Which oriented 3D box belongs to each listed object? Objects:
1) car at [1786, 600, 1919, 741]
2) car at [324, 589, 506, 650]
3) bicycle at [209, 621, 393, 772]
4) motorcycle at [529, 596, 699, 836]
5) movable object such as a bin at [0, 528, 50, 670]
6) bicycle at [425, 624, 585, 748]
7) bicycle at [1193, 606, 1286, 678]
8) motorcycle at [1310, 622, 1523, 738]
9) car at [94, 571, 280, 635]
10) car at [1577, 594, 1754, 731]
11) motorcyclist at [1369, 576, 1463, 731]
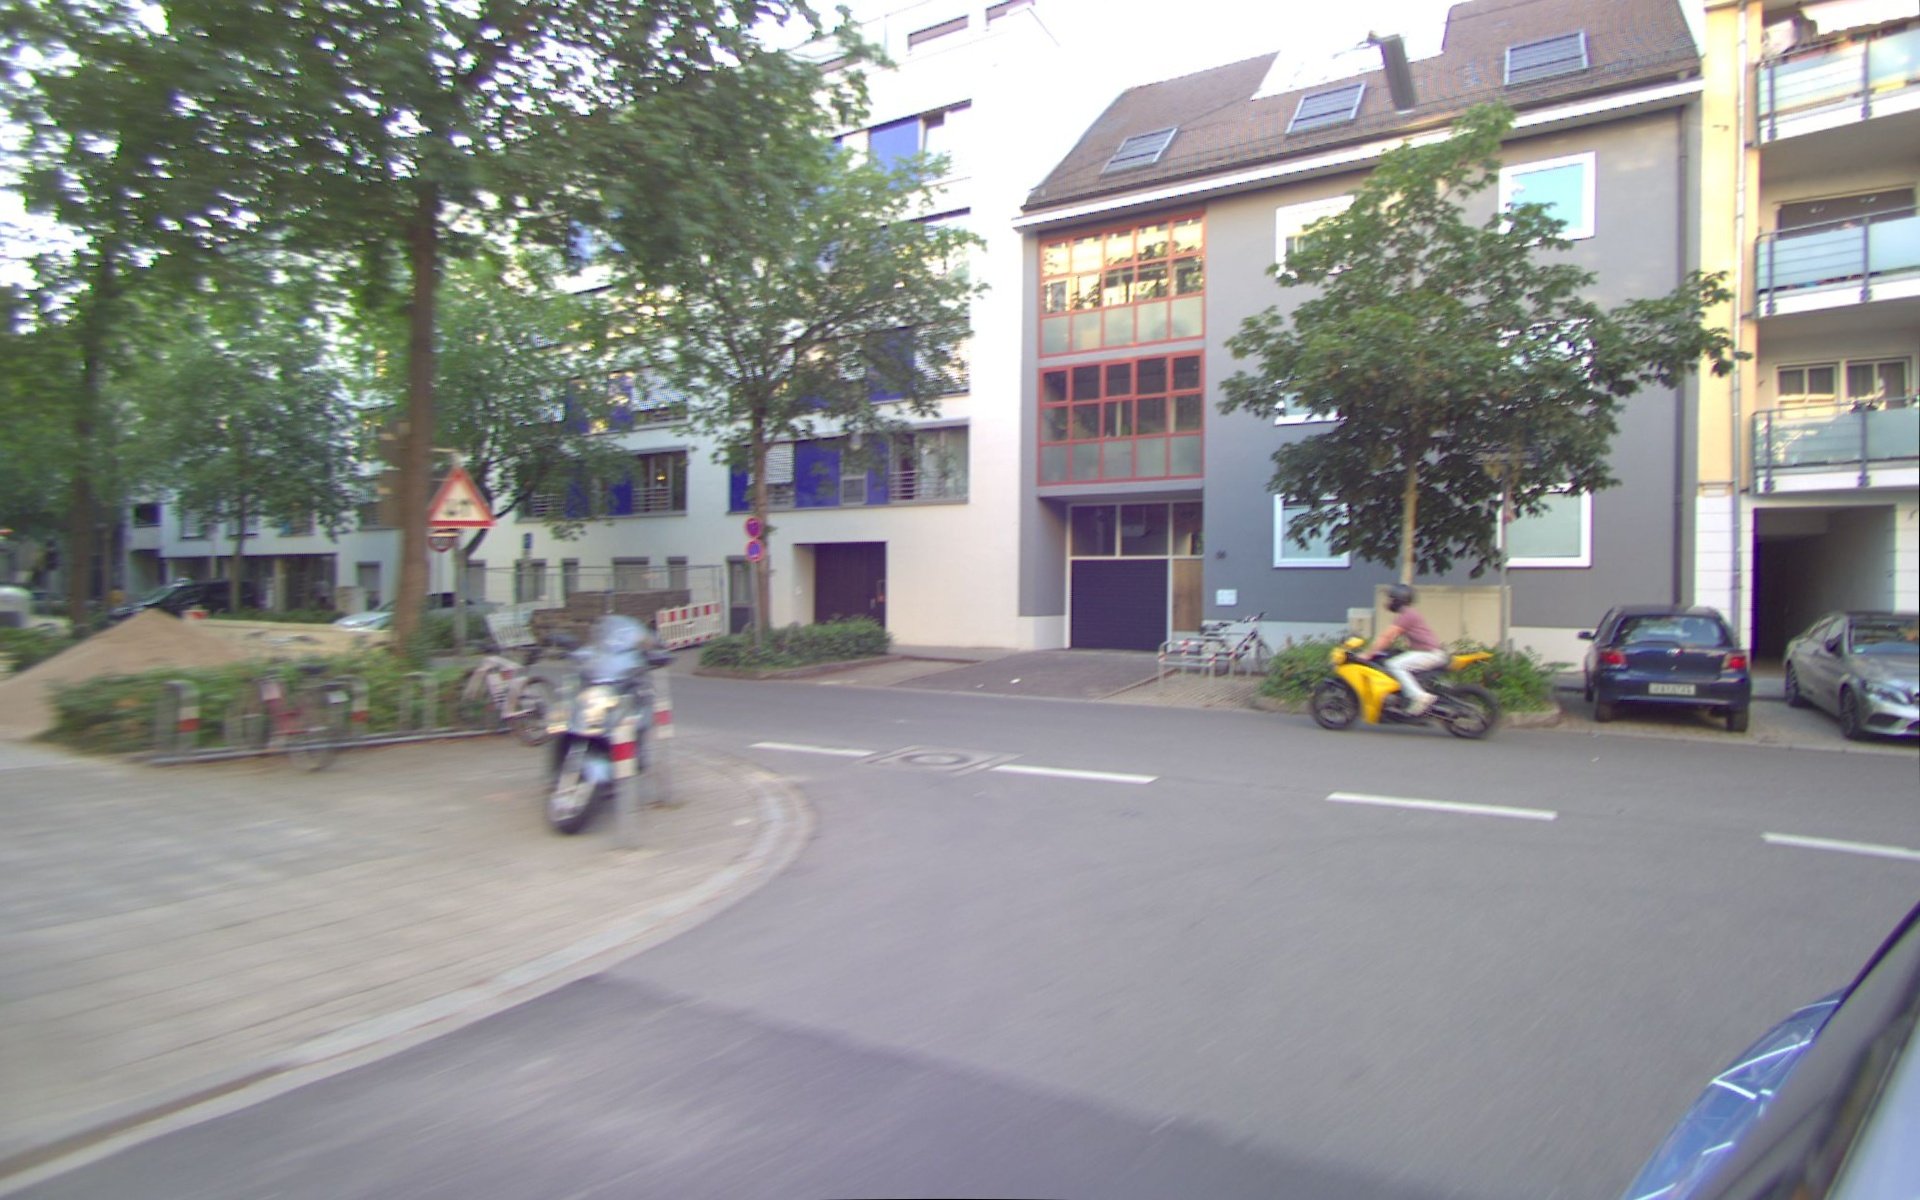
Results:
[{"bbox_3d":[11.957,0.788,12.568,1.855,1.527,4.250,1,0,29],"label":"car"},{"bbox_3d":[-15.536,0.513,29.077,1.616,1.611,4.400,0,0,32],"label":"car"},{"bbox_3d":[-5.753,0.787,8.807,1.785,1.132,0.596,2,0,31],"label":"bicycle"},{"bbox_3d":[-2.426,0.708,7.402,0.785,1.459,2.383,1,0,-10],"label":"motorcycle"},{"bbox_3d":[-17.628,-0.042,16.396,2.560,2.362,3.641,1,0,28],"label":"movable object such as a bin"},{"bbox_3d":[-4.771,0.854,10.588,1.785,1.132,0.596,2,0,31],"label":"bicycle"},{"bbox_3d":[5.053,0.739,18.319,1.488,1.186,0.721,1,4,31],"label":"bicycle"},{"bbox_3d":[5.047,0.844,11.266,2.088,1.136,0.729,1,0,28],"label":"motorcycle"},{"bbox_3d":[-27.139,0.095,35.744,1.723,2.114,4.935,1,0,30],"label":"car"},{"bbox_3d":[9.631,0.737,14.057,1.732,1.544,3.326,1,2,30],"label":"car"},{"bbox_3d":[5.079,0.566,11.264,0.906,1.635,0.715,1,-1,27],"label":"motorcyclist"}]
